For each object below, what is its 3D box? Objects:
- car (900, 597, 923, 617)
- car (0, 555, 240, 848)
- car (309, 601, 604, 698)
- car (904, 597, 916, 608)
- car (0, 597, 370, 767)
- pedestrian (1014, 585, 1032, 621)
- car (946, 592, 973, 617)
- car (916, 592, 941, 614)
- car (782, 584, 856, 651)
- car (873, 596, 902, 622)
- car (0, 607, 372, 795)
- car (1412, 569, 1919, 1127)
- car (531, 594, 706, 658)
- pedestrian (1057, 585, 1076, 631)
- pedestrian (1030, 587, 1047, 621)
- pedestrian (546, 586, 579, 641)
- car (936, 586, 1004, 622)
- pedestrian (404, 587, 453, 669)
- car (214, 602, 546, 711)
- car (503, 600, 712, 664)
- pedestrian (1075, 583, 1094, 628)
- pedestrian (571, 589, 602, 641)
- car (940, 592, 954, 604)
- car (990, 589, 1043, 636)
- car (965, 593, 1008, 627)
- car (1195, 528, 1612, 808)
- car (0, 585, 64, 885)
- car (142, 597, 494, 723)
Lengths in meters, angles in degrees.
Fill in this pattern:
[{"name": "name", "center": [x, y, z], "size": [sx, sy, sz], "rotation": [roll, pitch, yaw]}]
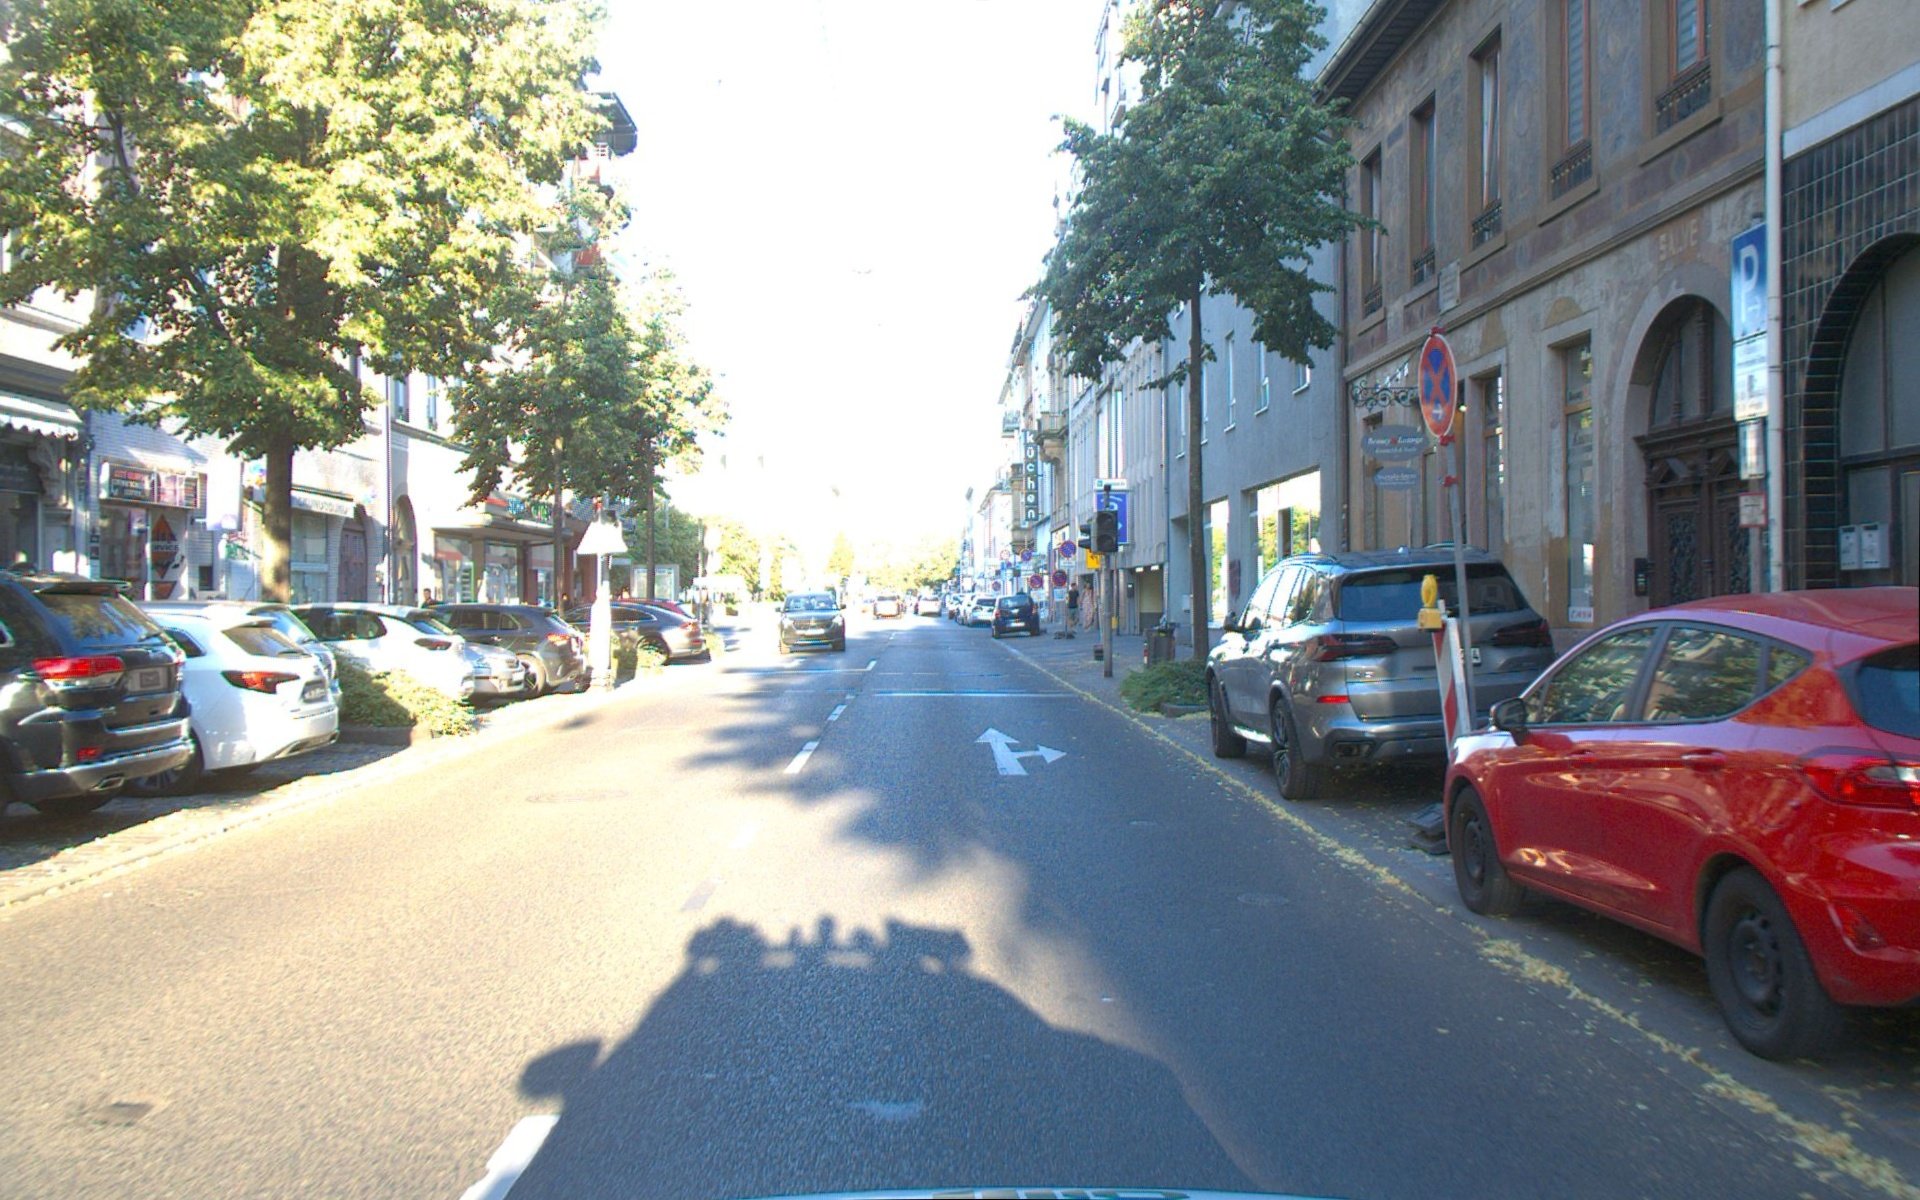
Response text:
[{"name": "car", "center": [-4.152, 0.564, 141.076], "size": [1.858, 1.609, 3.850], "rotation": [2, 0, -2]}, {"name": "car", "center": [-7.253, 0.619, 11.031], "size": [4.067, 1.804, 1.888], "rotation": [0, 0, -4]}, {"name": "car", "center": [-7.703, 0.747, 25.638], "size": [4.025, 1.428, 1.882], "rotation": [0, 0, -4]}, {"name": "car", "center": [-7.135, 0.315, 236.079], "size": [1.744, 1.574, 3.998], "rotation": [0, 0, -2]}, {"name": "car", "center": [-7.683, 0.742, 15.803], "size": [3.485, 1.528, 1.715], "rotation": [0, 0, -3]}, {"name": "pedestrian", "center": [3.255, 0.152, 85.643], "size": [0.757, 1.859, 1.010], "rotation": [-2, 0, -2]}, {"name": "car", "center": [-0.074, 0.295, 113.619], "size": [1.695, 1.679, 4.283], "rotation": [1, 0, -2]}, {"name": "car", "center": [-2.438, 0.248, 127.916], "size": [1.858, 1.609, 3.998], "rotation": [1, 0, -2]}, {"name": "car", "center": [-3.950, 0.445, 46.838], "size": [1.824, 1.721, 4.459], "rotation": [-1, 1, -2]}, {"name": "car", "center": [-4.831, 0.593, 111.052], "size": [1.858, 1.678, 4.102], "rotation": [0, 0, -2]}, {"name": "car", "center": [-7.229, 0.786, 13.739], "size": [4.067, 1.446, 1.765], "rotation": [0, 0, -4]}, {"name": "car", "center": [3.341, 0.670, 6.650], "size": [1.695, 1.513, 3.897], "rotation": [-3, 0, -4]}, {"name": "car", "center": [-8.477, 0.633, 41.291], "size": [3.990, 1.563, 1.883], "rotation": [0, 0, -2]}, {"name": "pedestrian", "center": [3.826, 0.269, 59.261], "size": [0.592, 1.627, 0.773], "rotation": [0, 0, -2]}, {"name": "pedestrian", "center": [4.073, 0.198, 85.681], "size": [0.757, 1.741, 1.041], "rotation": [-2, 0, -2]}, {"name": "pedestrian", "center": [-11.964, 0.422, 49.781], "size": [0.756, 1.636, 0.875], "rotation": [0, -2, -1]}, {"name": "car", "center": [0.509, 0.208, 87.219], "size": [1.967, 1.792, 4.432], "rotation": [-1, 0, -24]}, {"name": "pedestrian", "center": [-11.452, 0.611, 35.686], "size": [0.756, 1.752, 0.875], "rotation": [0, -2, -1]}, {"name": "car", "center": [-8.080, 0.762, 23.317], "size": [4.013, 1.428, 1.843], "rotation": [-1, 0, 0]}, {"name": "car", "center": [-8.092, 0.724, 38.243], "size": [4.479, 1.432, 1.820], "rotation": [0, 0, -3]}, {"name": "pedestrian", "center": [4.467, 0.196, 59.355], "size": [0.592, 1.627, 0.773], "rotation": [0, 0, -2]}, {"name": "pedestrian", "center": [-11.277, 0.467, 49.967], "size": [0.719, 1.555, 0.875], "rotation": [0, -2, -1]}, {"name": "car", "center": [-1.808, -0.324, 229.809], "size": [1.858, 1.609, 3.850], "rotation": [-1, 0, -2]}, {"name": "car", "center": [2.064, 0.448, 61.306], "size": [1.723, 1.563, 4.000], "rotation": [-4, 0, 0]}, {"name": "car", "center": [1.236, 0.496, 79.738], "size": [1.724, 1.563, 4.818], "rotation": [1, -1, -3]}, {"name": "car", "center": [3.303, 0.437, 13.409], "size": [1.997, 1.767, 4.710], "rotation": [-3, 0, -1]}, {"name": "car", "center": [-7.357, 0.727, 8.611], "size": [4.318, 1.624, 1.889], "rotation": [0, 1, -3]}, {"name": "car", "center": [-7.816, 0.711, 20.420], "size": [3.664, 1.469, 1.804], "rotation": [0, 0, -4]}]
